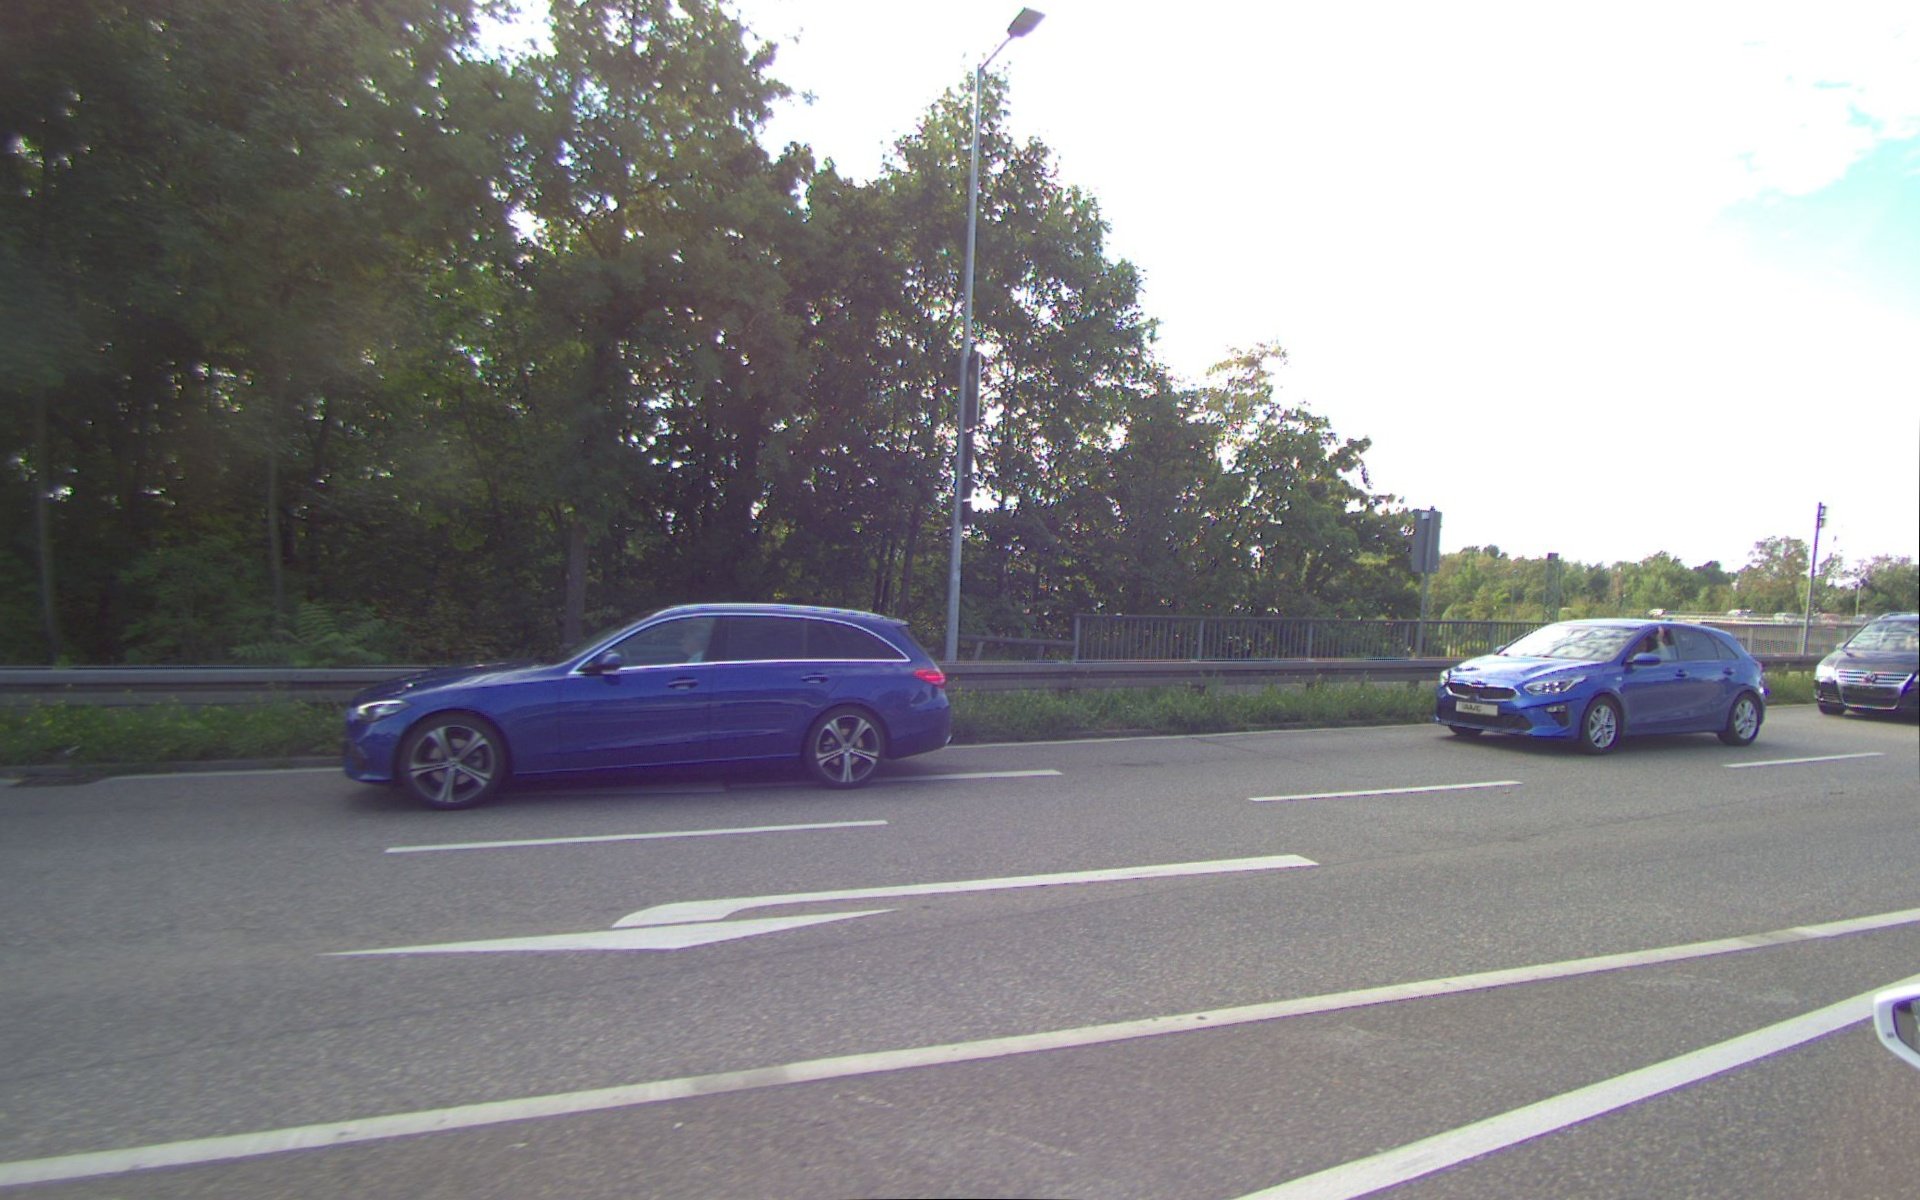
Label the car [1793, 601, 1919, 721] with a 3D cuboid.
[{"bbox_3d":[15.219,0.925,15.764,4.397,1.676,1.739,2,0,-28],"label":"car"}]

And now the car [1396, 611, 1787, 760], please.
[{"bbox_3d":[7.488,0.900,11.895,4.301,1.467,1.887,1,0,-25],"label":"car"}]

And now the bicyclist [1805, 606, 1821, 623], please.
[{"bbox_3d":[84.926,1.461,100.041,0.753,1.683,1.120,2,0,16],"label":"bicyclist"}]

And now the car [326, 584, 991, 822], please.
[{"bbox_3d":[-2.256,0.695,8.241,4.695,1.540,1.810,1,0,-22],"label":"car"}]
